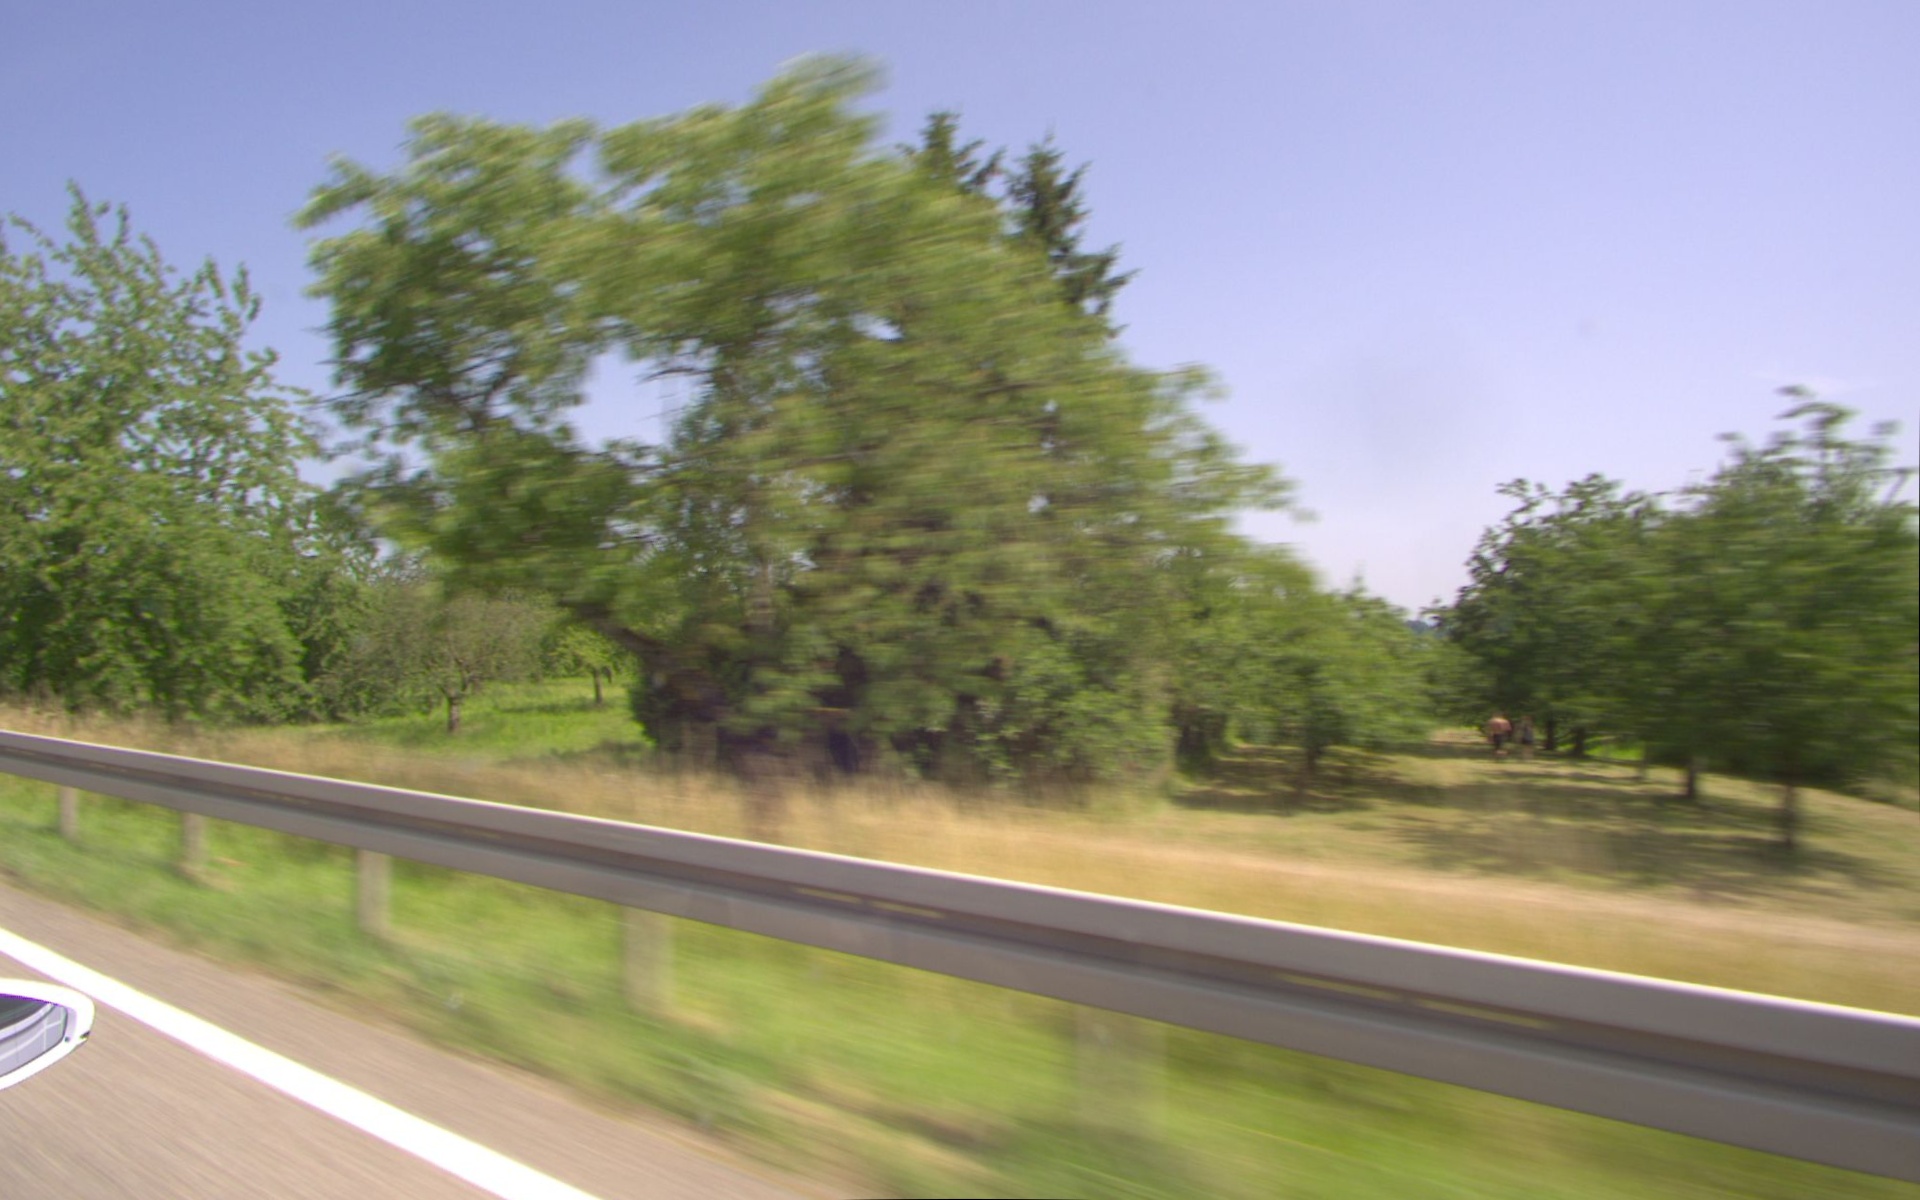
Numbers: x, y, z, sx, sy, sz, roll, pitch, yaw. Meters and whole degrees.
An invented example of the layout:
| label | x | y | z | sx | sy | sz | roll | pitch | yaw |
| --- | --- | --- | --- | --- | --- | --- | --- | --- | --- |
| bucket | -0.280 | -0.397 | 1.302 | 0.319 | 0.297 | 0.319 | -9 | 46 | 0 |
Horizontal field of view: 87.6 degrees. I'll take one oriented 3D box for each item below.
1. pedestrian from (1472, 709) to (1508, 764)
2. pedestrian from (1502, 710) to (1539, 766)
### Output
| label | x | y | z | sx | sy | sz | roll | pitch | yaw |
| --- | --- | --- | --- | --- | --- | --- | --- | --- | --- |
| pedestrian | 16.893 | 4.340 | 31.941 | 0.929 | 1.668 | 0.780 | -3 | -4 | 30 |
| pedestrian | 17.587 | 4.317 | 31.405 | 0.929 | 1.668 | 0.780 | -3 | -4 | 30 |
